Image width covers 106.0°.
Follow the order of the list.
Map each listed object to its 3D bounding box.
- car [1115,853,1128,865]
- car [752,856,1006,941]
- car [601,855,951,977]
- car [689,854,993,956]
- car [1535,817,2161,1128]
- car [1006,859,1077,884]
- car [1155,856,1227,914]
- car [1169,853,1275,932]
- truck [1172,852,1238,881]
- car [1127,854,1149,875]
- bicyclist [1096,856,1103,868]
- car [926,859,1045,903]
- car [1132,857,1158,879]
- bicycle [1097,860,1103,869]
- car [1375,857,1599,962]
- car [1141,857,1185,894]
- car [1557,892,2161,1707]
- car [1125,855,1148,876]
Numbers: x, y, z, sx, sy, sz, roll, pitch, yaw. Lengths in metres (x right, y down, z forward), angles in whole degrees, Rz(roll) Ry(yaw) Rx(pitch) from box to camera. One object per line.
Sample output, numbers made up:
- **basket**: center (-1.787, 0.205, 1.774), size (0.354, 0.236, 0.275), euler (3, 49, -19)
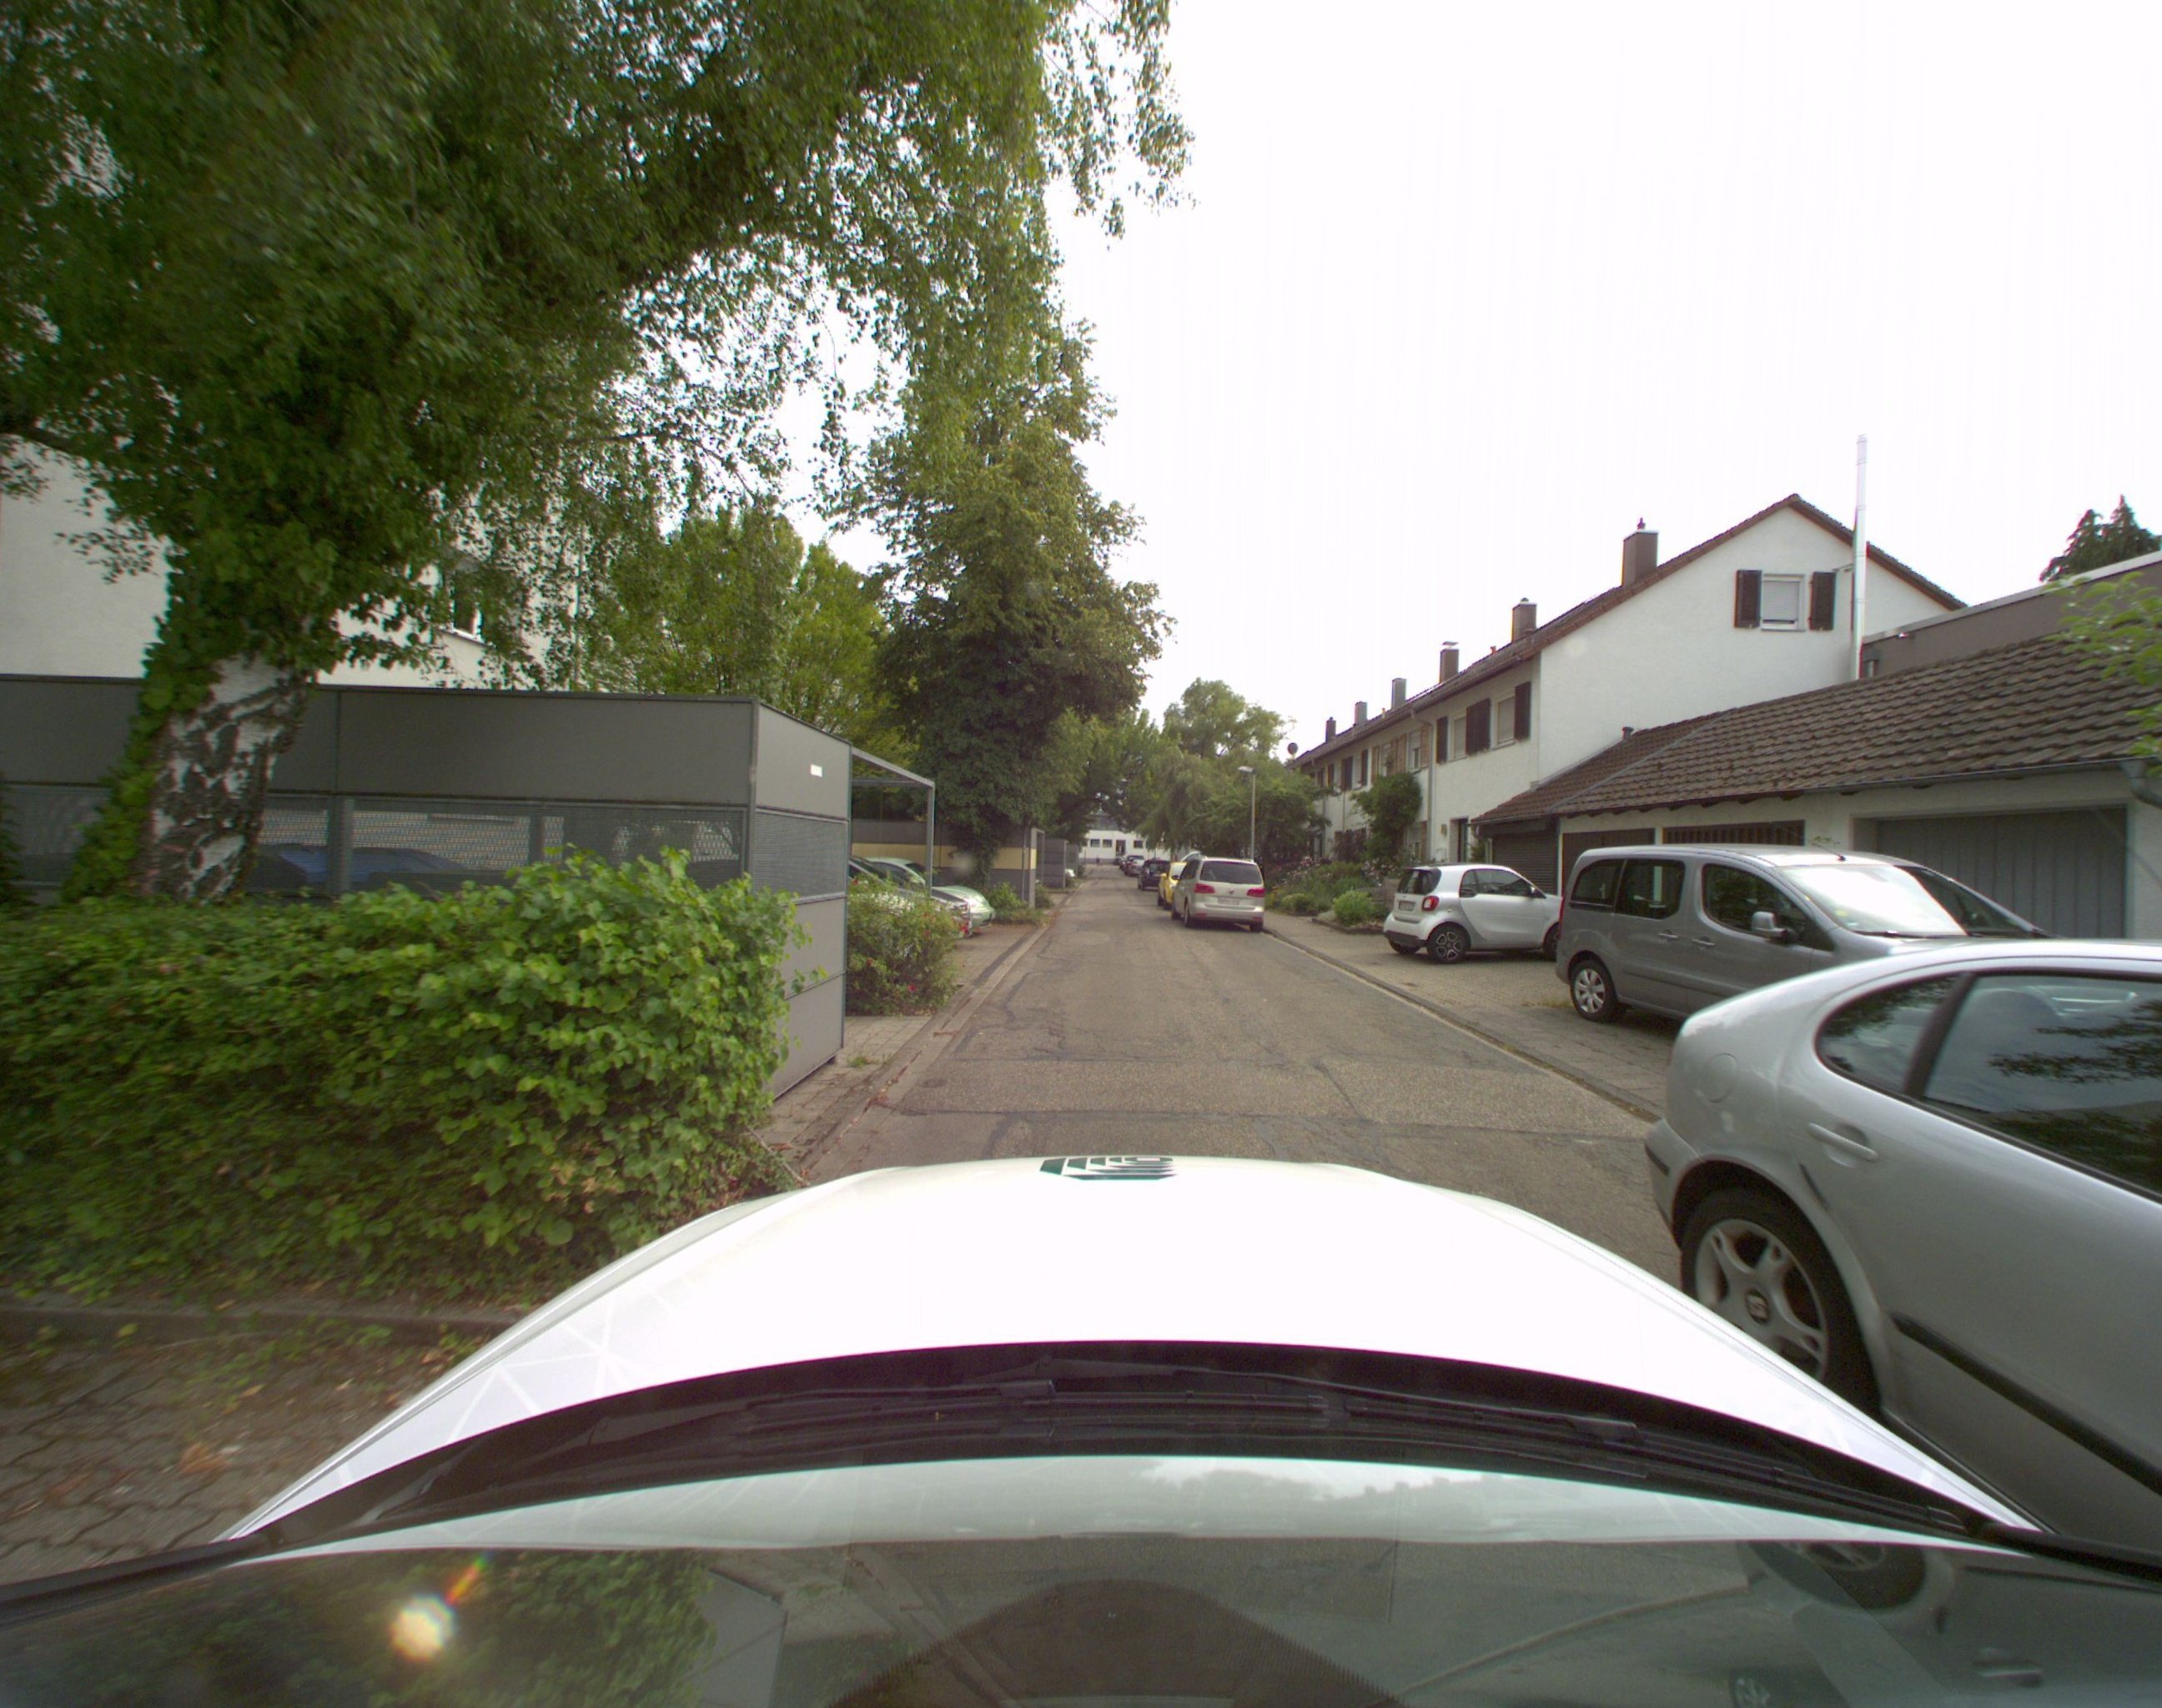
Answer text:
- **car**: center (5.812, 0.663, 117.260), size (1.818, 1.581, 4.002), euler (3, 0, 2)
- **car**: center (-3.786, 0.809, 15.798), size (4.396, 1.502, 1.842), euler (1, 0, 1)
- **car**: center (-3.906, 0.762, 10.923), size (3.972, 1.459, 1.796), euler (1, 0, 1)
- **car**: center (-3.786, 0.779, 13.416), size (4.396, 1.502, 1.842), euler (1, 0, 1)
- **car**: center (6.033, 0.695, 6.919), size (1.820, 1.777, 4.337), euler (-1, -1, -2)
- **car**: center (-2.270, 1.028, 47.744), size (4.017, 1.394, 1.738), euler (1, 0, 1)
- **car**: center (3.418, 0.918, 25.938), size (1.818, 1.581, 4.002), euler (3, 0, 2)
- **car**: center (3.259, 0.835, 19.572), size (1.819, 1.581, 4.000), euler (3, 0, 0)
- **truck**: center (8.770, 0.856, 57.829), size (4.374, 2.014, 2.000), euler (0, 0, 1)
- **car**: center (5.329, 0.960, 76.595), size (1.818, 1.883, 4.002), euler (3, 0, 2)
- **bicyclist**: center (2.444, 1.005, 105.097), size (0.795, 1.511, 0.935), euler (3, 0, 4)
- **car**: center (-3.359, 0.949, 29.163), size (3.973, 1.464, 1.738), euler (1, 0, 1)
- **car**: center (5.030, 1.092, 64.776), size (1.818, 1.581, 4.002), euler (3, 0, 2)
- **bicycle**: center (2.464, 1.343, 105.024), size (0.686, 1.131, 2.582), euler (3, 0, 4)
- **car**: center (6.535, 0.853, 13.338), size (2.808, 1.569, 1.740), euler (-1, 0, -1)
- **car**: center (3.951, 0.992, 39.763), size (1.818, 1.581, 4.195), euler (3, 0, 2)
- **car**: center (2.707, 0.889, 0.986), size (1.818, 1.370, 4.333), euler (3, 0, 2)
- **car**: center (4.779, 0.968, 70.520), size (1.818, 1.581, 4.002), euler (3, 0, 2)
